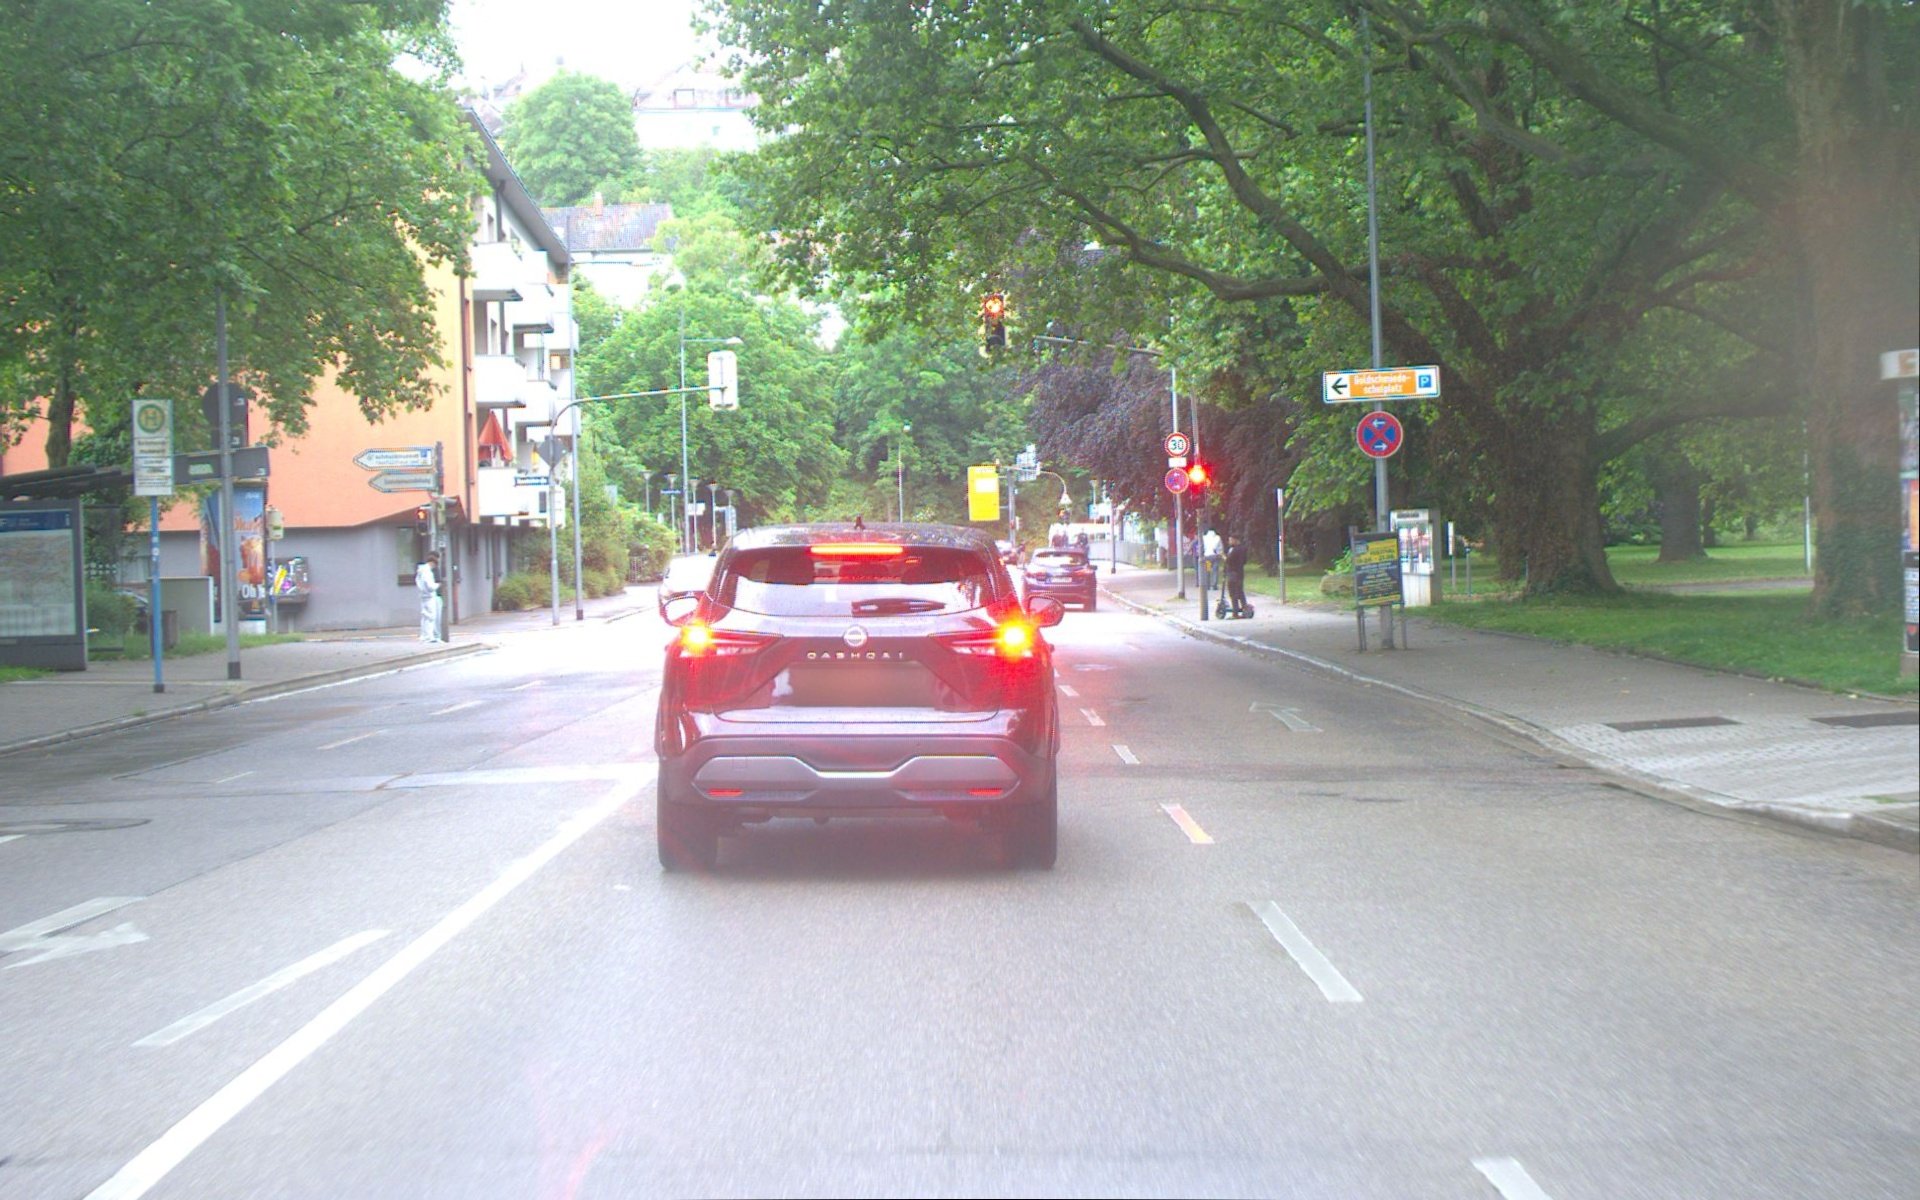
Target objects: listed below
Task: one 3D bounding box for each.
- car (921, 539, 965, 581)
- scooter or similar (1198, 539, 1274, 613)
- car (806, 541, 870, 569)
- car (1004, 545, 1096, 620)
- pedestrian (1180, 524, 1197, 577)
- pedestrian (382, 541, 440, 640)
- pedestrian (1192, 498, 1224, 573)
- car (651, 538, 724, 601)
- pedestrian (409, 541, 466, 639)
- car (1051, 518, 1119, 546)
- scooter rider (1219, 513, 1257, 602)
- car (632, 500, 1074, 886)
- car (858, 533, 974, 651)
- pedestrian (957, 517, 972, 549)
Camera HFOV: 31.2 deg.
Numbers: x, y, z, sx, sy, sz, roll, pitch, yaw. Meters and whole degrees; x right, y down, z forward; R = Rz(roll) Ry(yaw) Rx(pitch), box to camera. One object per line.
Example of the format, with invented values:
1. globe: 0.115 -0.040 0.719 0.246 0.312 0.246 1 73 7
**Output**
1. car: -0.661 -1.570 132.691 1.634 1.527 3.968 -2 1 0
2. scooter or similar: 5.538 -0.477 68.890 1.394 1.441 0.816 -1 0 12
3. car: -7.639 -2.826 215.455 3.987 1.662 1.702 1 0 -1
4. car: 2.196 -0.435 83.077 1.994 1.729 3.999 1 0 5
5. pedestrian: 6.482 -1.406 97.515 0.390 1.497 0.559 -2 1 0
6. pedestrian: -10.440 -0.188 65.375 1.035 1.869 0.658 -1 1 -12
7. pedestrian: 6.712 -1.739 93.184 0.725 2.007 0.851 -2 1 0
8. car: -7.073 -0.800 89.589 1.795 1.528 3.868 -2 1 -4
9. pedestrian: -10.079 -0.190 66.264 1.035 1.869 0.658 -1 1 -12
10. car: 7.894 -4.294 217.006 4.013 1.662 1.702 1 0 -9
11. scooter rider: 5.574 -0.854 68.885 0.643 1.760 0.735 -1 -1 12
12. car: -0.472 0.368 16.899 1.913 1.674 4.000 0 1 0
13. car: -0.683 -0.150 54.209 1.698 1.739 3.641 -2 1 0
14. pedestrian: 0.228 -3.504 180.645 0.509 1.667 0.658 -2 1 28
